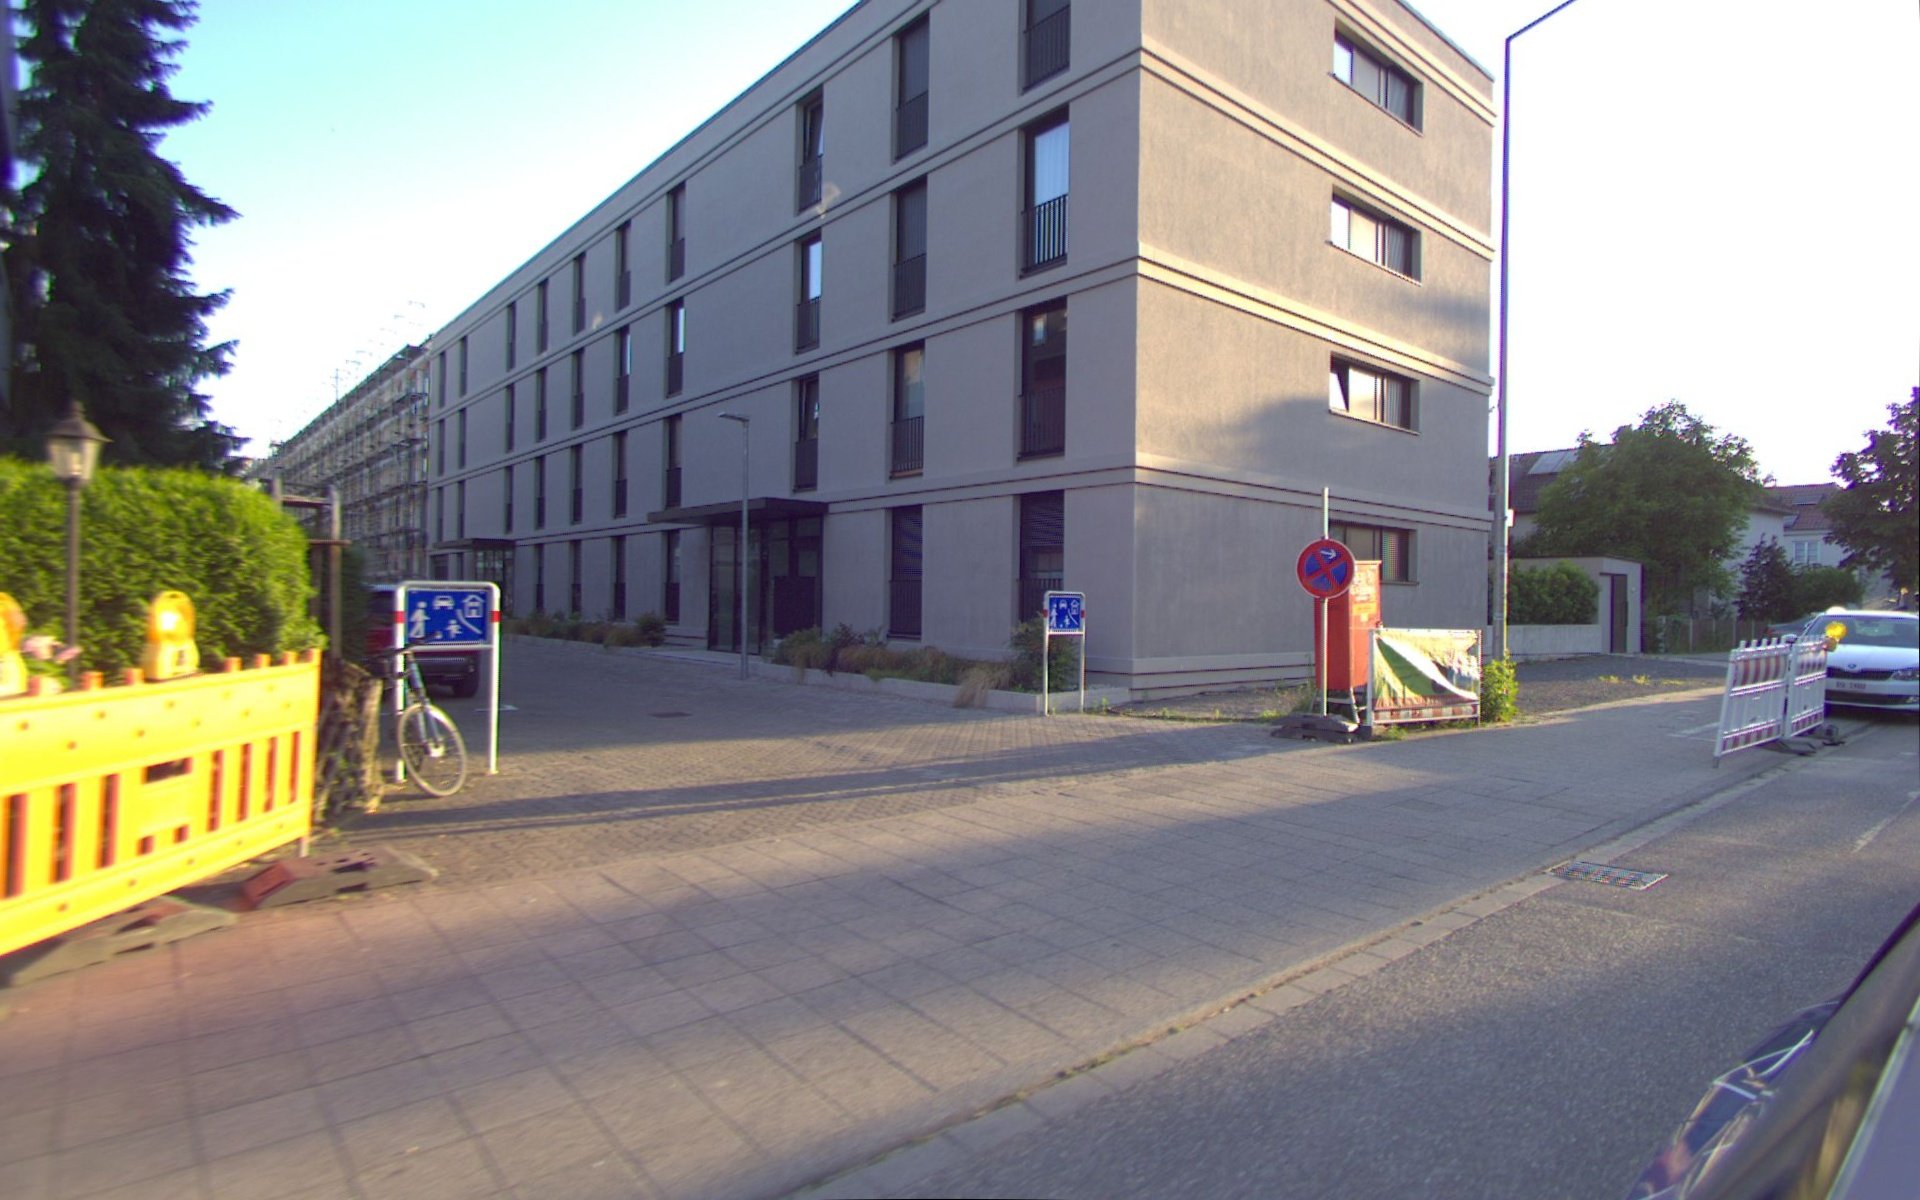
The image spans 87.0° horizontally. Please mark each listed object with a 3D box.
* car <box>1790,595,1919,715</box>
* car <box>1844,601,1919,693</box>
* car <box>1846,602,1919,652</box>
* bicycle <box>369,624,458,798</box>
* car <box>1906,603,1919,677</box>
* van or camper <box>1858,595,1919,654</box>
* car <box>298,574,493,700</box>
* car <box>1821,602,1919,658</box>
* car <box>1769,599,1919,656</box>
[{"bbox_3d":[13.180,0.700,14.365,3.928,1.488,1.617,0,0,-42],"label":"car"},{"bbox_3d":[17.032,0.784,17.813,3.777,1.488,1.800,1,0,-42],"label":"car"},{"bbox_3d":[31.584,0.888,33.041,1.600,1.563,3.839,1,0,-40],"label":"car"},{"bbox_3d":[-4.187,0.766,7.698,0.437,1.083,1.900,1,1,-33],"label":"bicycle"},{"bbox_3d":[21.161,0.825,21.028,3.691,1.488,1.744,1,0,-39],"label":"car"},{"bbox_3d":[33.660,0.859,34.287,2.059,1.978,4.653,1,0,-42],"label":"van or camper"},{"bbox_3d":[-8.386,0.436,14.879,1.852,1.587,3.910,0,1,-39],"label":"car"},{"bbox_3d":[28.227,0.912,29.803,1.737,1.520,4.068,1,1,-36],"label":"car"},{"bbox_3d":[25.973,0.773,28.405,1.738,1.415,4.830,1,1,-39],"label":"car"}]
